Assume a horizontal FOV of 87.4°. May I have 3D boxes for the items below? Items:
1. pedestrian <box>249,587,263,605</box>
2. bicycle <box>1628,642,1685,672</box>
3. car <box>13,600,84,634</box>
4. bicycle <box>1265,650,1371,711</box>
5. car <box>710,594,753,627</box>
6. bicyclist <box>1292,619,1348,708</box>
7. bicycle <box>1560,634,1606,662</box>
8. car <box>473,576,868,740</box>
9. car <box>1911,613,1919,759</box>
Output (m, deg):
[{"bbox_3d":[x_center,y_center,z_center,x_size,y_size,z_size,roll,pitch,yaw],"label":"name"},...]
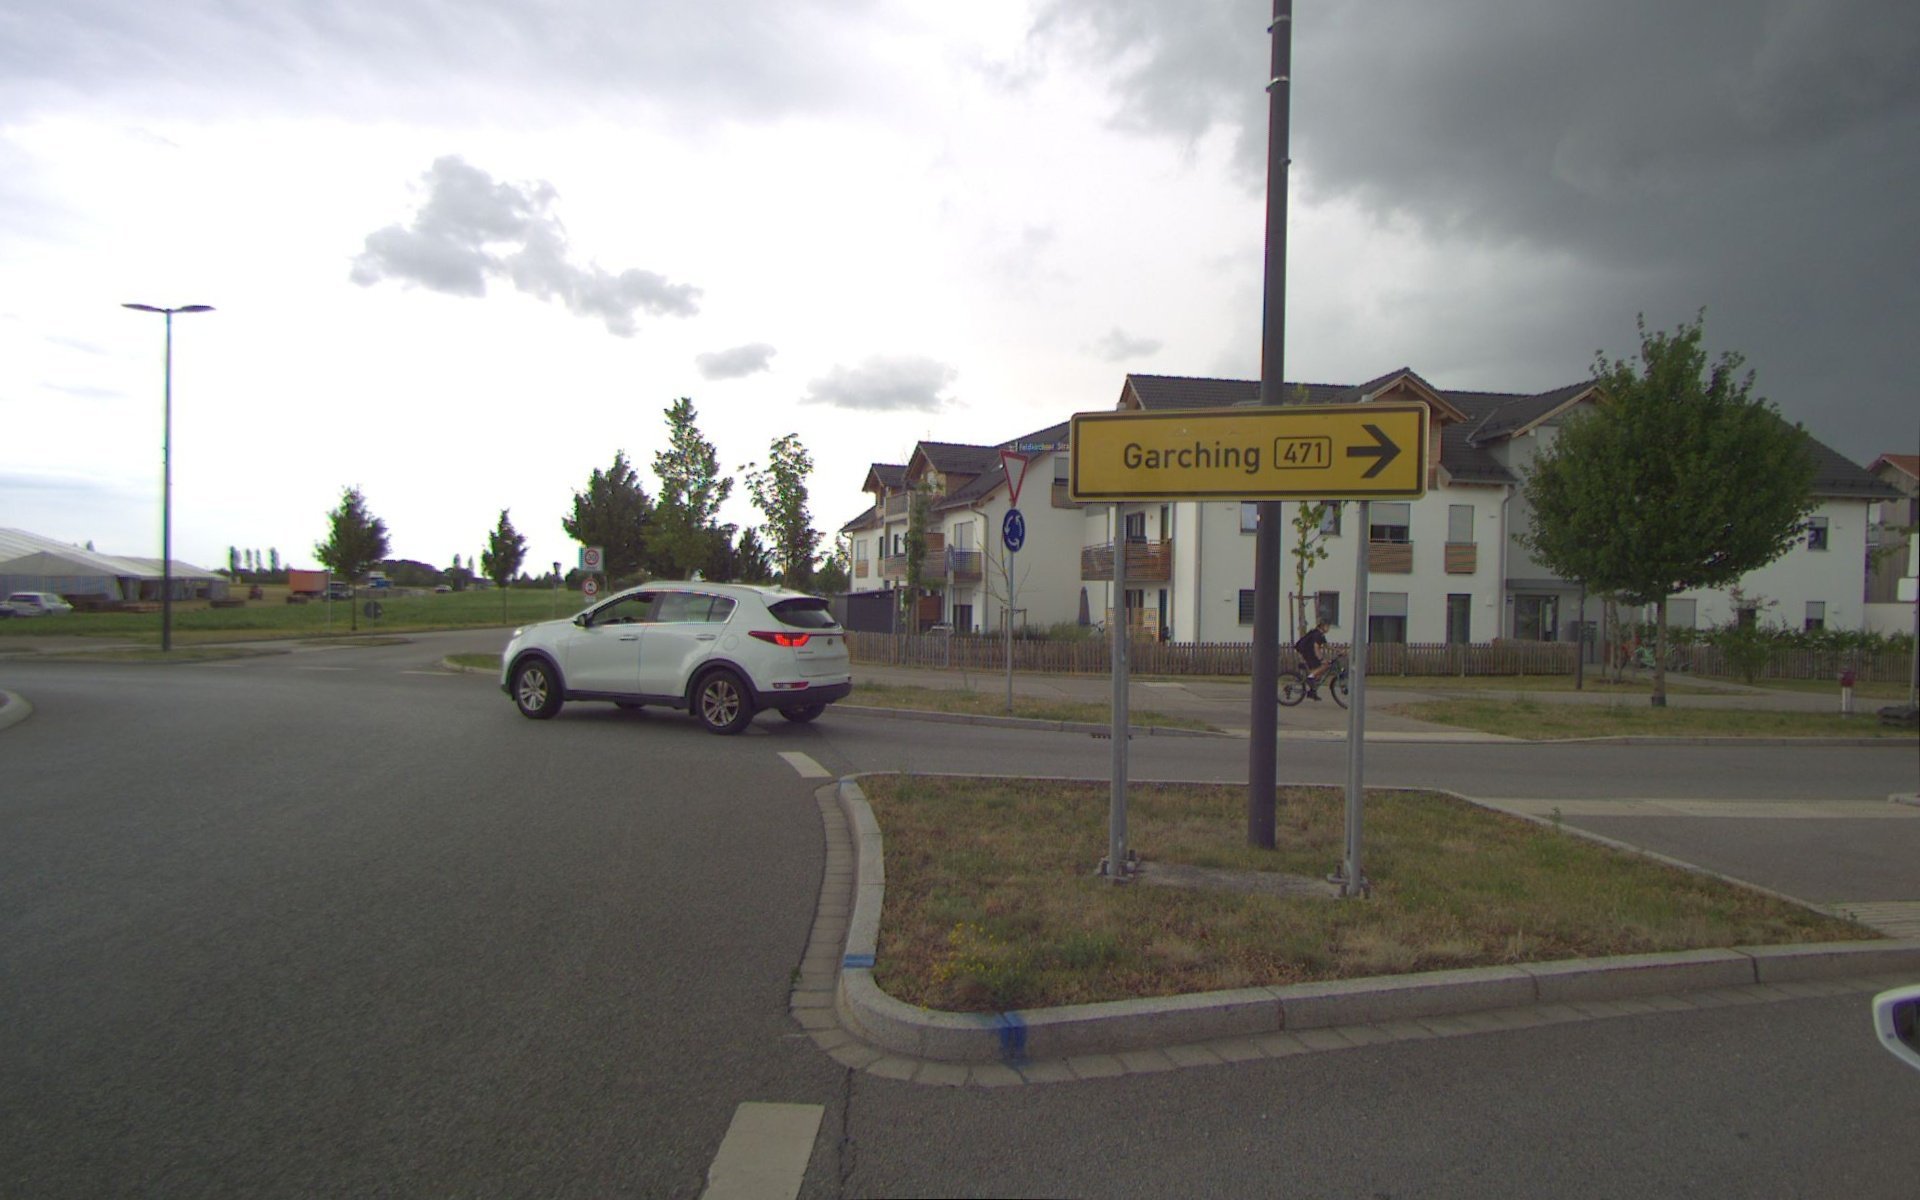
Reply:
[{"bbox_3d":[-79.347,-0.483,113.158,1.035,2.041,1.056,1,1,-20],"label":"pedestrian"},{"bbox_3d":[21.179,1.733,30.555,1.518,0.854,0.368,1,3,-7],"label":"bicycle"},{"bbox_3d":[-45.698,0.811,50.458,1.710,1.574,3.970,1,0,-28],"label":"car"},{"bbox_3d":[6.186,1.380,17.371,1.681,0.959,0.497,0,-1,24],"label":"bicycle"},{"bbox_3d":[-17.416,0.748,76.747,1.960,2.284,4.572,2,1,4],"label":"car"},{"bbox_3d":[6.193,1.068,17.267,0.852,1.466,0.724,0,-1,23],"label":"bicyclist"},{"bbox_3d":[20.638,1.581,33.292,1.312,0.854,0.368,1,3,-7],"label":"bicycle"},{"bbox_3d":[-3.463,0.613,12.036,4.363,1.647,1.714,1,-1,21],"label":"car"},{"bbox_3d":[13.758,1.063,11.324,4.549,1.726,1.998,1,0,-8],"label":"car"}]
